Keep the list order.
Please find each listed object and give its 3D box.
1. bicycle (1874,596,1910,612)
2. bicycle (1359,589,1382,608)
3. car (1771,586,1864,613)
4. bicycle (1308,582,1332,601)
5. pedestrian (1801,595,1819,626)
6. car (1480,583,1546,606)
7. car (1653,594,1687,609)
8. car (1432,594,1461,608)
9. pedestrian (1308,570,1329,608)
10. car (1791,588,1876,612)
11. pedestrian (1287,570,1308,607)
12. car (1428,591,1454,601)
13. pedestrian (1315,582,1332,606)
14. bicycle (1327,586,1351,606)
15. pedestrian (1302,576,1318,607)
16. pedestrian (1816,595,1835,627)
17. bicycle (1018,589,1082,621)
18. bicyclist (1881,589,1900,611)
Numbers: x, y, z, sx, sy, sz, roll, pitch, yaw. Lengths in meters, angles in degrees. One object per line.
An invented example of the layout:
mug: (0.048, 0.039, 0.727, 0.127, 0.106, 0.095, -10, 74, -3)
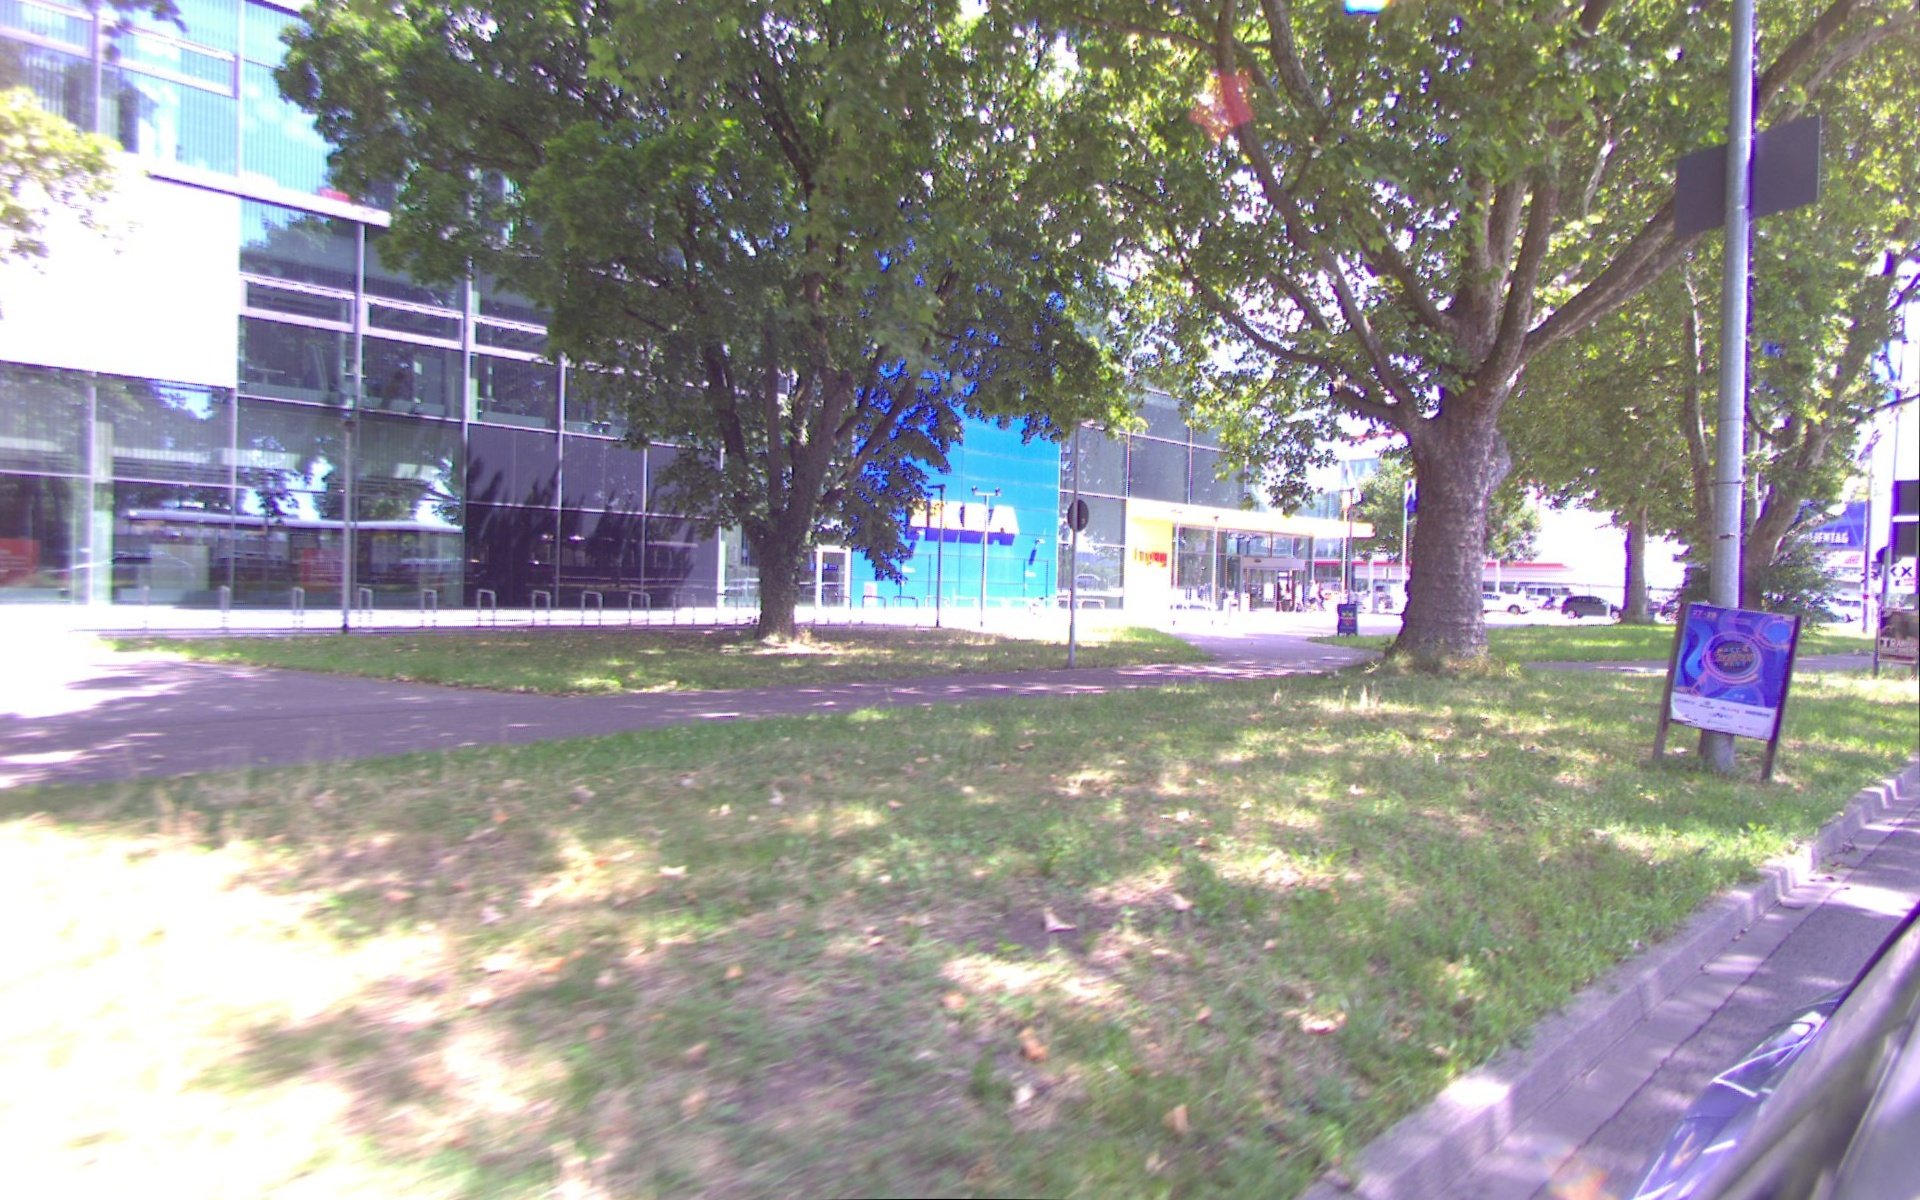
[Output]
bicycle: (72.708, 0.290, 78.933, 0.814, 1.176, 1.883, 0, 1, -23)
bicycle: (25.773, -0.104, 63.512, 0.798, 1.159, 2.401, 1, 1, 37)
car: (52.292, -0.033, 61.751, 1.964, 1.575, 3.997, -2, 1, -38)
bicycle: (23.778, -0.580, 66.786, 0.798, 1.214, 2.401, 1, 1, 37)
pedestrian: (46.500, 0.591, 55.359, 0.848, 1.658, 0.604, -2, 1, -37)
car: (42.585, -0.419, 78.009, 1.966, 1.660, 4.075, 0, 2, -41)
car: (81.951, 0.164, 116.809, 4.420, 1.738, 1.999, -1, 0, -37)
car: (58.386, 0.109, 121.526, 3.933, 1.565, 1.851, 0, 2, -43)
pedestrian: (19.642, -0.608, 55.492, 0.718, 2.039, 0.800, 0, 0, -32)
car: (54.788, 0.007, 63.516, 1.772, 1.414, 3.829, 0, 1, -42)
pedestrian: (18.607, -0.622, 55.724, 0.718, 2.039, 0.801, 0, 0, -27)
car: (65.417, -0.586, 137.603, 3.928, 1.326, 1.693, 0, 0, -39)
pedestrian: (25.107, -0.405, 69.928, 0.623, 1.606, 0.918, 0, 1, -45)
bicycle: (24.679, -0.286, 65.892, 0.798, 1.213, 2.401, 3, 2, 37)
pedestrian: (19.453, -0.468, 56.308, 0.574, 1.693, 0.608, 0, 0, -30)
pedestrian: (46.891, 0.593, 54.824, 0.848, 1.658, 0.607, -2, 1, -37)
bicycle: (2.974, 0.153, 33.547, 0.854, 0.981, 2.062, 0, 1, -43)
bicyclist: (72.676, 0.013, 79.030, 0.799, 1.722, 0.801, 1, 1, -24)
